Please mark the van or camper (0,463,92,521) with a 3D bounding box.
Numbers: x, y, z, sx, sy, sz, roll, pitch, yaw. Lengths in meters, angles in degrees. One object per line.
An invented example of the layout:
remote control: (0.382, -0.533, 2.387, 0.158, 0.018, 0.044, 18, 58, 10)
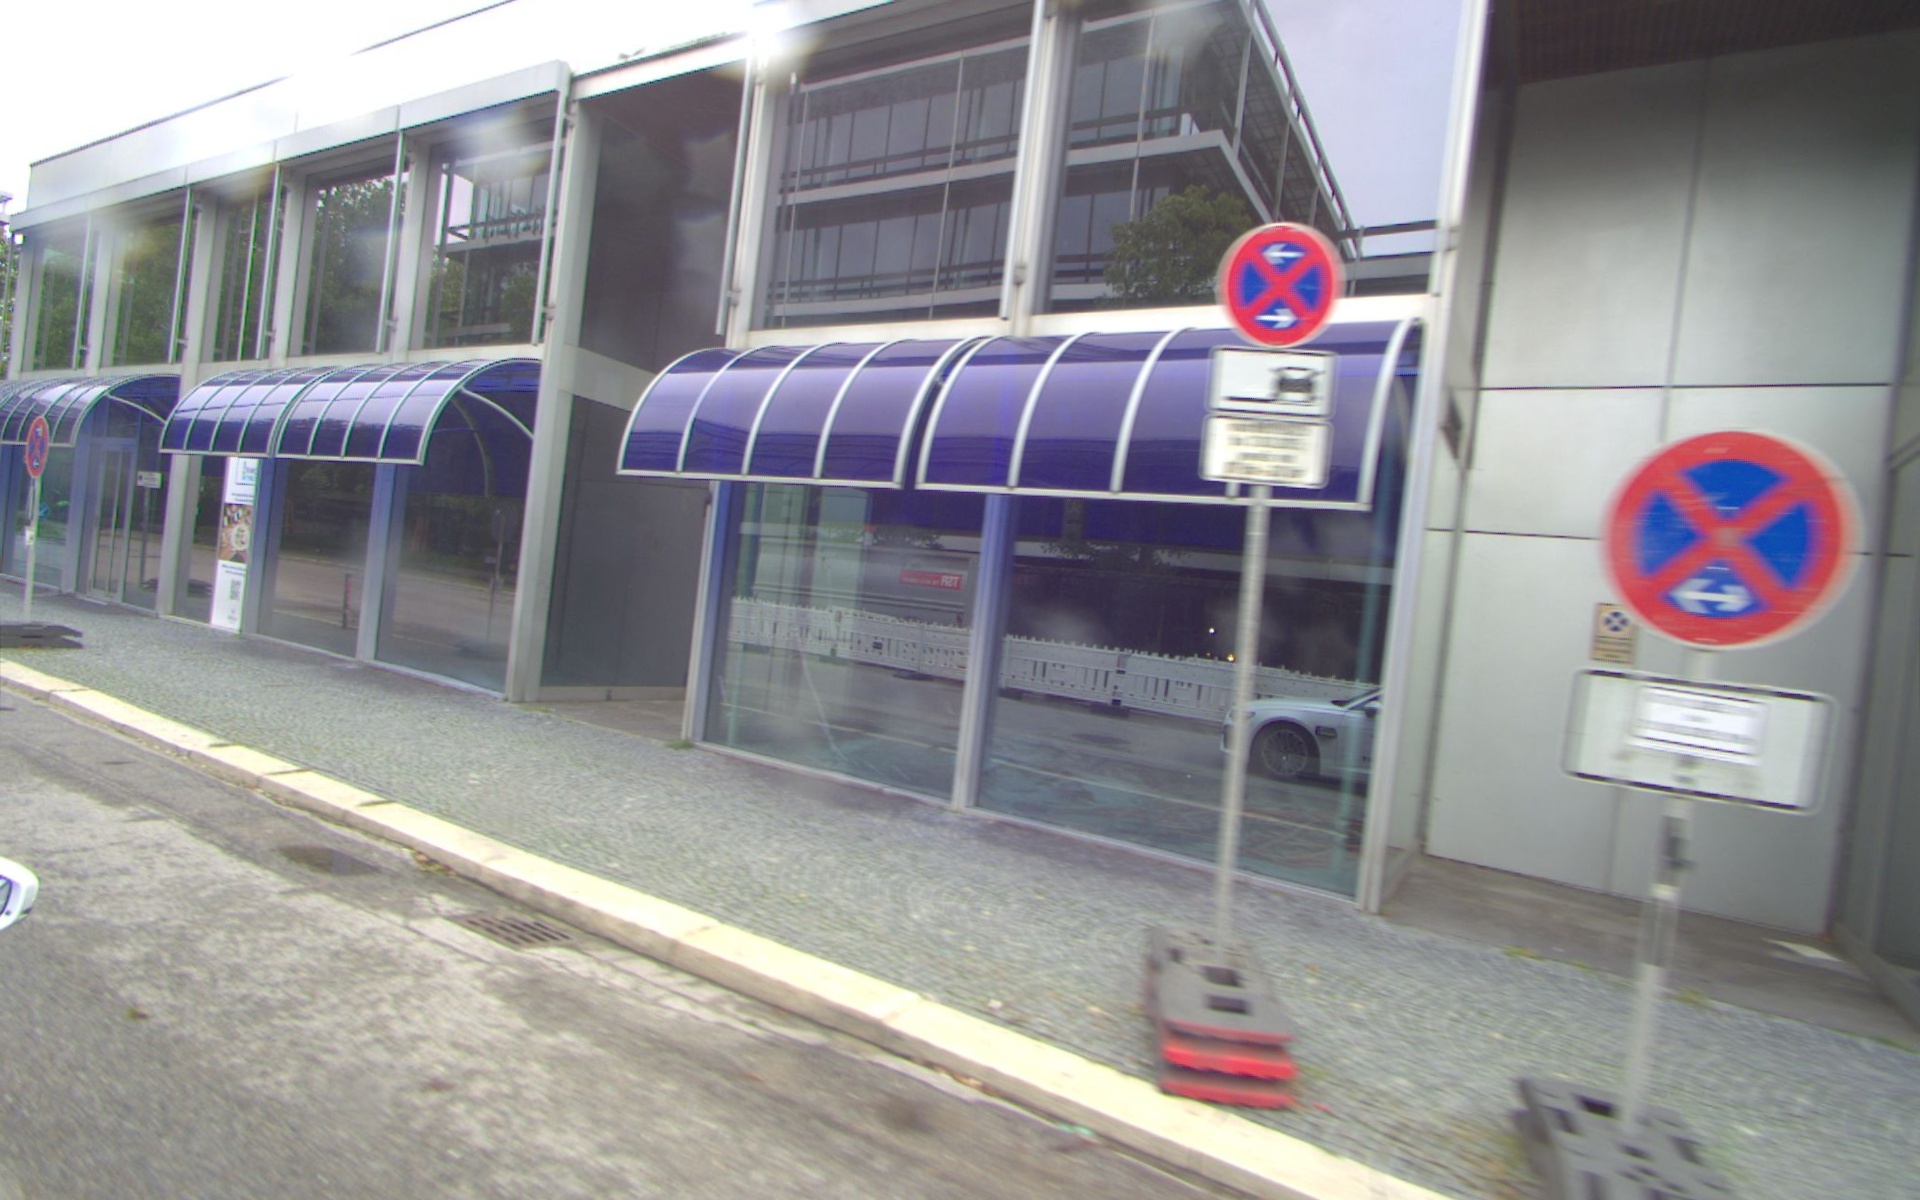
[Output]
van or camper: (-47.963, -5.641, 50.412, 2.212, 2.309, 6.422, 7, -1, 17)
